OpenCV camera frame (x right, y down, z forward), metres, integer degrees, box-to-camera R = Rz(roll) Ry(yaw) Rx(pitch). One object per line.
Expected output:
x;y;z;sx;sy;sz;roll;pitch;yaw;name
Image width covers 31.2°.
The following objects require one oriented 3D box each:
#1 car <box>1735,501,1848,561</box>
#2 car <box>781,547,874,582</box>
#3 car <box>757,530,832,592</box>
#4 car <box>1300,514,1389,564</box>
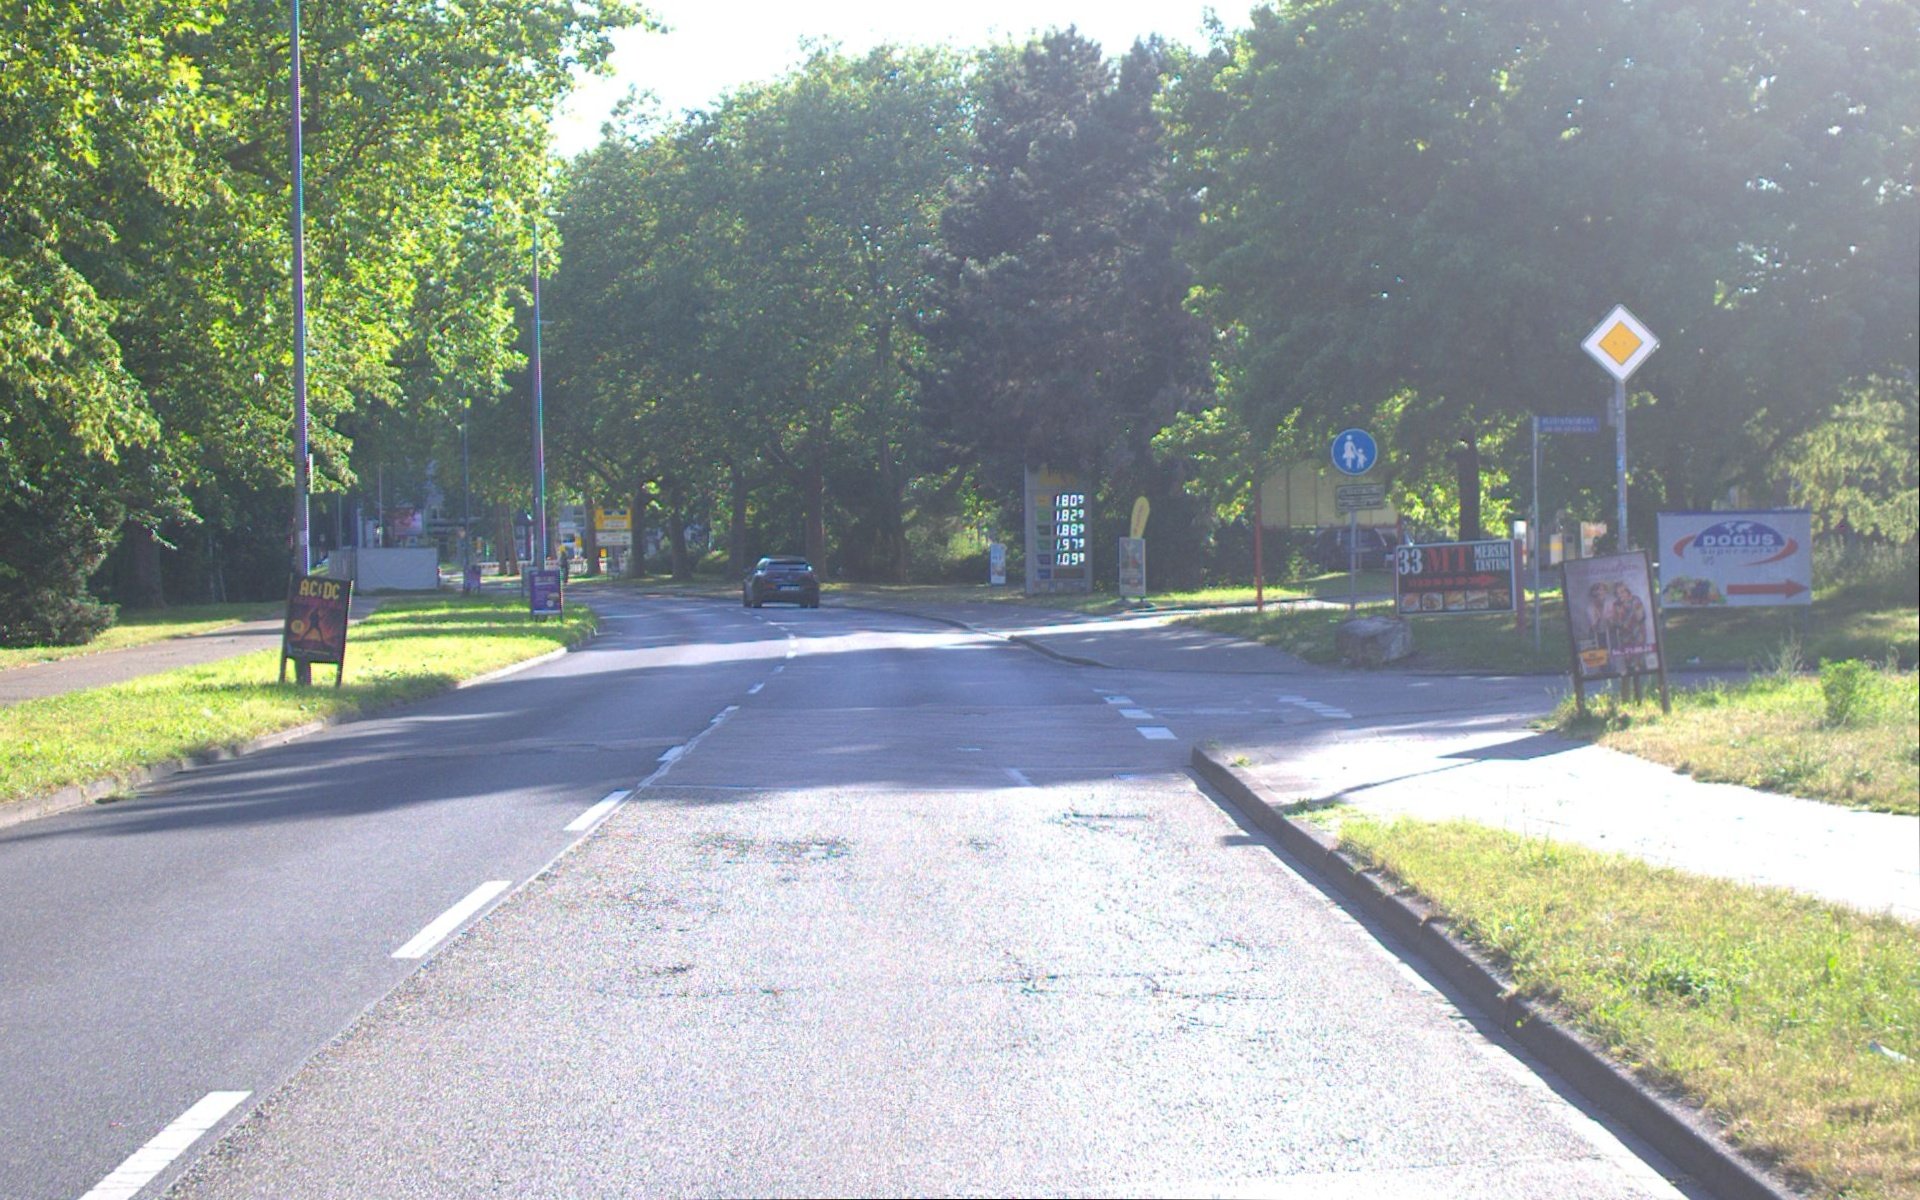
24.836;-2.078;102.801;1.812;1.722;4.400;-1;2;-7;car
-6.048;-1.618;156.835;3.986;1.438;1.761;-2;1;-11;car
-4.548;-1.096;95.030;1.839;1.600;3.863;-2;1;0;car
11.245;-1.789;100.848;1.841;1.415;4.001;-1;1;-5;car
